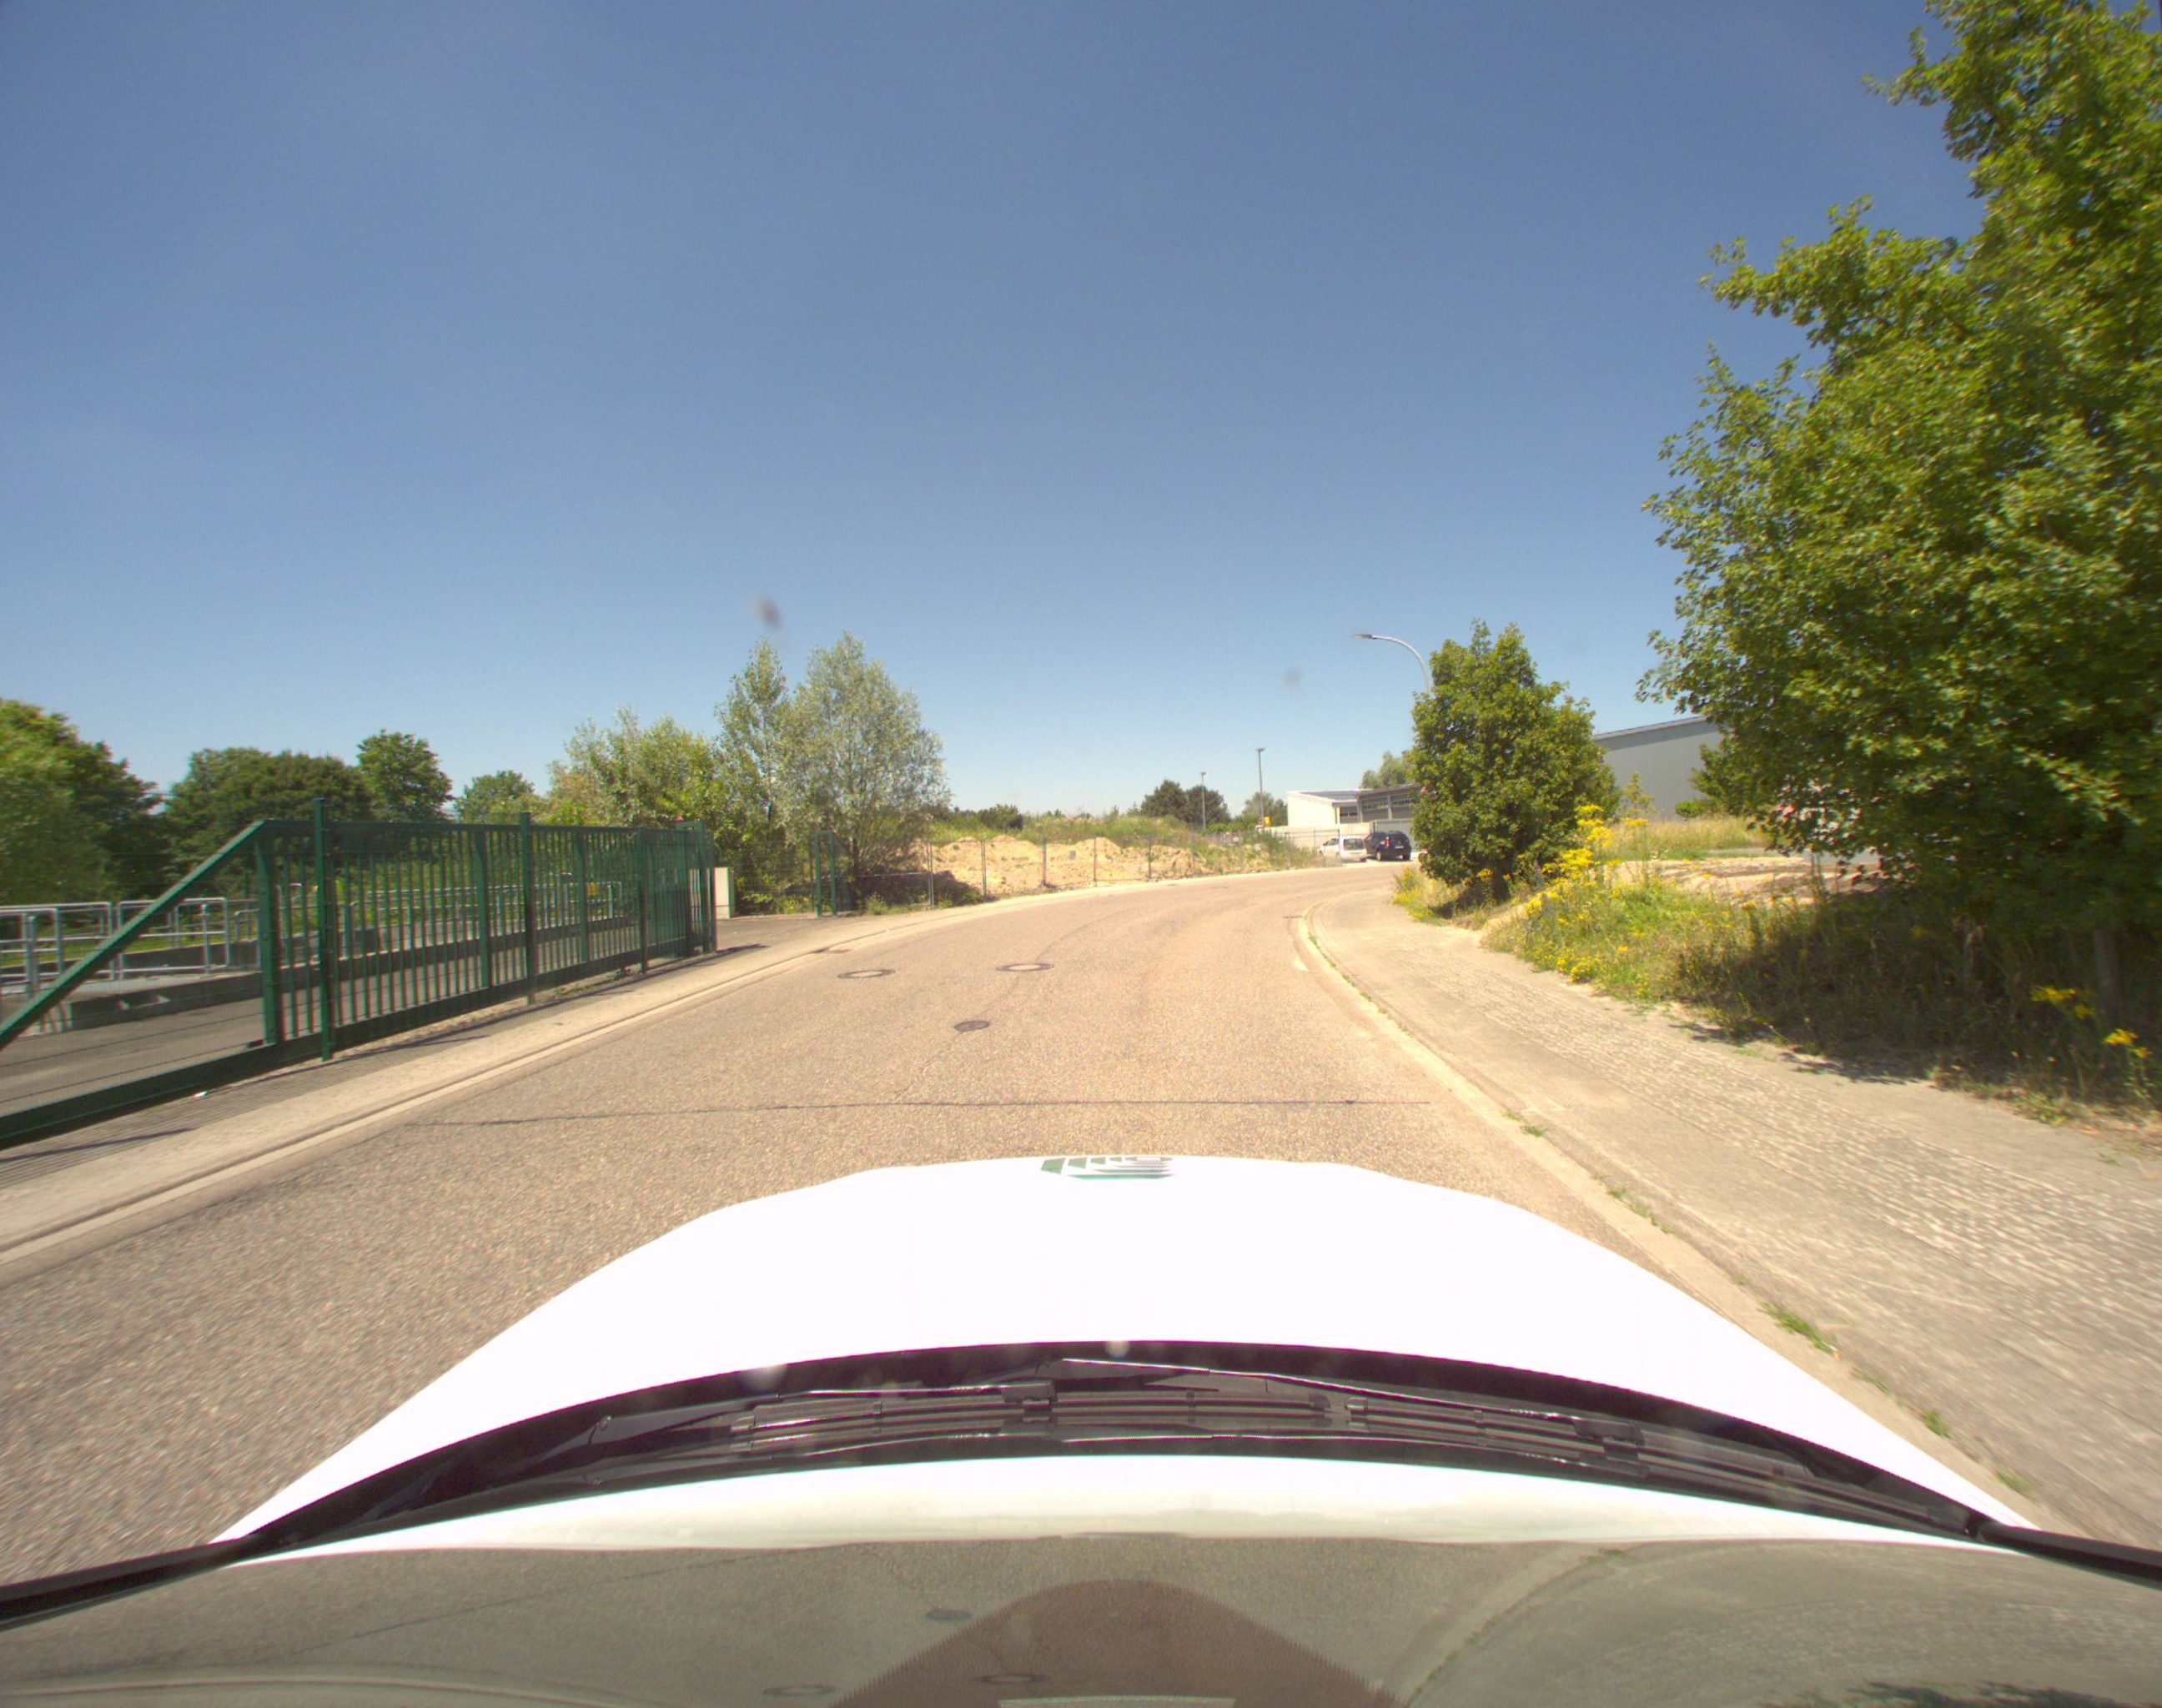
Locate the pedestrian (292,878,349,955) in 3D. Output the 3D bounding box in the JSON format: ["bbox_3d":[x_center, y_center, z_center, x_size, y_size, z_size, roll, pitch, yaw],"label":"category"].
[{"bbox_3d":[-19.048,1.538,20.419,0.604,1.839,0.804,-3,0,-2],"label":"pedestrian"}]

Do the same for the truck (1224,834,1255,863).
[{"bbox_3d":[17.601,-0.588,90.813,1.991,2.984,4.635,-3,0,-6],"label":"truck"}]

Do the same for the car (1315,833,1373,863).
[{"bbox_3d":[15.124,-0.389,47.041,1.782,1.498,3.694,-3,3,-7],"label":"car"}]

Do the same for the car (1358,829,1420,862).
[{"bbox_3d":[17.579,-0.522,46.701,1.793,1.608,3.694,-3,3,-7],"label":"car"}]
